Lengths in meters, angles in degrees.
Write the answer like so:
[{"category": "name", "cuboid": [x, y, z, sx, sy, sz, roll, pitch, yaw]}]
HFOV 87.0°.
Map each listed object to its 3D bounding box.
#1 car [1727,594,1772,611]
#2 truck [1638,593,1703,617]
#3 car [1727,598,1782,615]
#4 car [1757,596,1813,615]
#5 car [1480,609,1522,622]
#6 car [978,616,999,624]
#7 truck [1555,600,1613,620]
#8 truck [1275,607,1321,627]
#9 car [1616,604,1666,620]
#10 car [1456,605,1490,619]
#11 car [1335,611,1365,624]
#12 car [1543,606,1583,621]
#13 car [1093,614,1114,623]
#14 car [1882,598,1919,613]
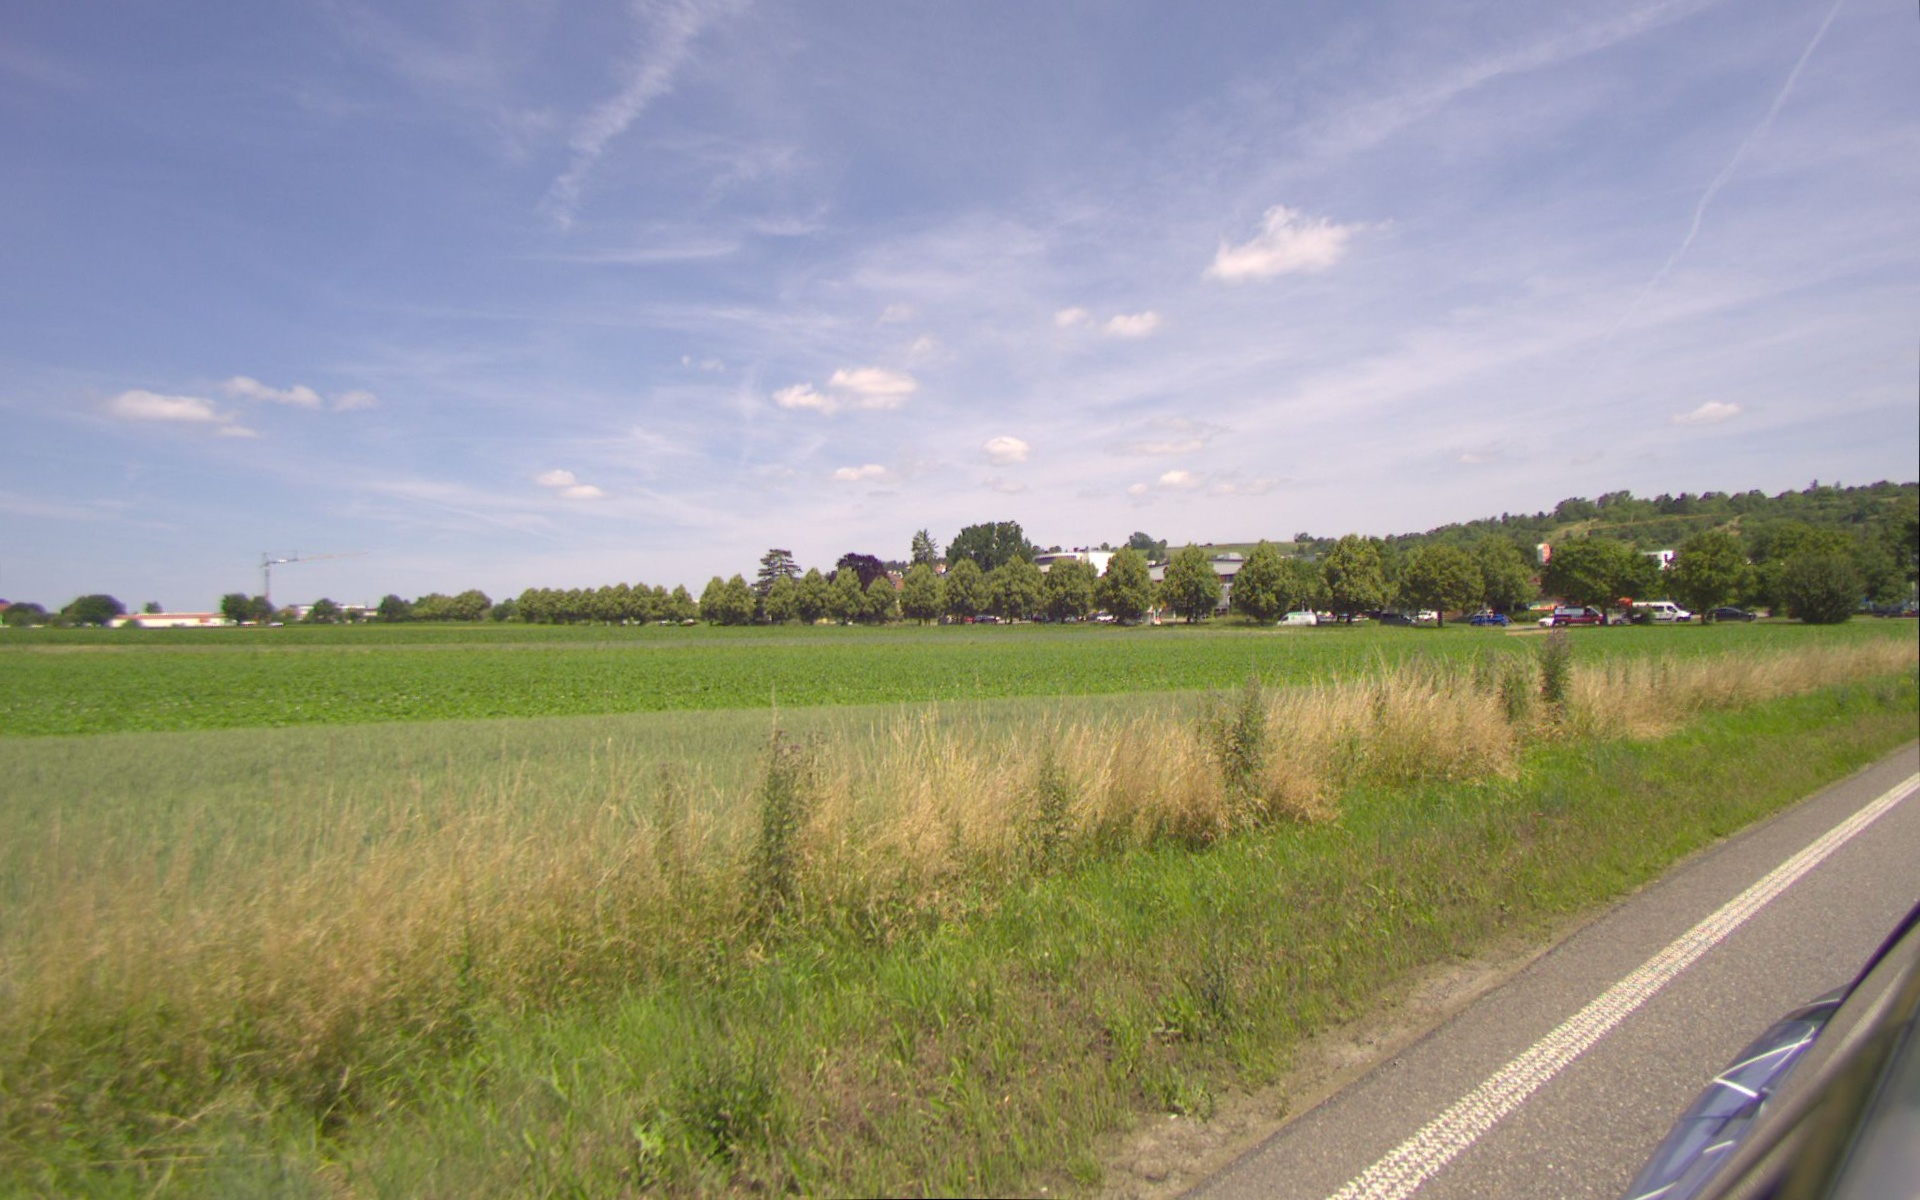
[{"category": "car", "cuboid": [93.358, 0.291, 119.763, 3.972, 1.847, 1.801, -3, -1, 35]}, {"category": "truck", "cuboid": [78.856, 0.593, 112.419, 5.613, 2.396, 2.023, -3, -1, 42]}, {"category": "car", "cuboid": [87.760, 0.697, 111.830, 1.837, 1.713, 4.513, -3, 0, -44]}, {"category": "car", "cuboid": [85.962, 0.574, 105.483, 1.966, 1.719, 4.281, -2, -1, -42]}, {"category": "car", "cuboid": [68.632, 1.967, 128.385, 1.752, 1.578, 4.384, 1, -1, -38]}, {"category": "car", "cuboid": [6.282, 4.484, 225.371, 1.839, 1.611, 4.804, -2, -1, -40]}, {"category": "truck", "cuboid": [72.676, 1.158, 117.879, 5.453, 2.001, 1.774, -3, -1, 43]}, {"category": "truck", "cuboid": [49.750, 2.517, 148.932, 5.916, 2.771, 2.044, -3, 1, 41]}, {"category": "car", "cuboid": [78.568, 1.412, 116.747, 4.506, 1.713, 1.840, -3, 0, 41]}, {"category": "car", "cuboid": [73.811, 1.773, 145.587, 1.791, 1.847, 3.993, -2, -1, -40]}, {"category": "car", "cuboid": [61.530, 2.752, 159.869, 1.791, 1.847, 3.993, -2, -1, -40]}, {"category": "car", "cuboid": [76.323, 1.697, 128.068, 4.407, 1.579, 1.880, -3, -1, -20]}, {"category": "car", "cuboid": [28.153, 3.667, 198.753, 1.713, 1.650, 3.993, -2, -1, -40]}, {"category": "car", "cuboid": [92.515, 0.531, 98.034, 1.771, 1.289, 4.551, -2, -1, -42]}]
